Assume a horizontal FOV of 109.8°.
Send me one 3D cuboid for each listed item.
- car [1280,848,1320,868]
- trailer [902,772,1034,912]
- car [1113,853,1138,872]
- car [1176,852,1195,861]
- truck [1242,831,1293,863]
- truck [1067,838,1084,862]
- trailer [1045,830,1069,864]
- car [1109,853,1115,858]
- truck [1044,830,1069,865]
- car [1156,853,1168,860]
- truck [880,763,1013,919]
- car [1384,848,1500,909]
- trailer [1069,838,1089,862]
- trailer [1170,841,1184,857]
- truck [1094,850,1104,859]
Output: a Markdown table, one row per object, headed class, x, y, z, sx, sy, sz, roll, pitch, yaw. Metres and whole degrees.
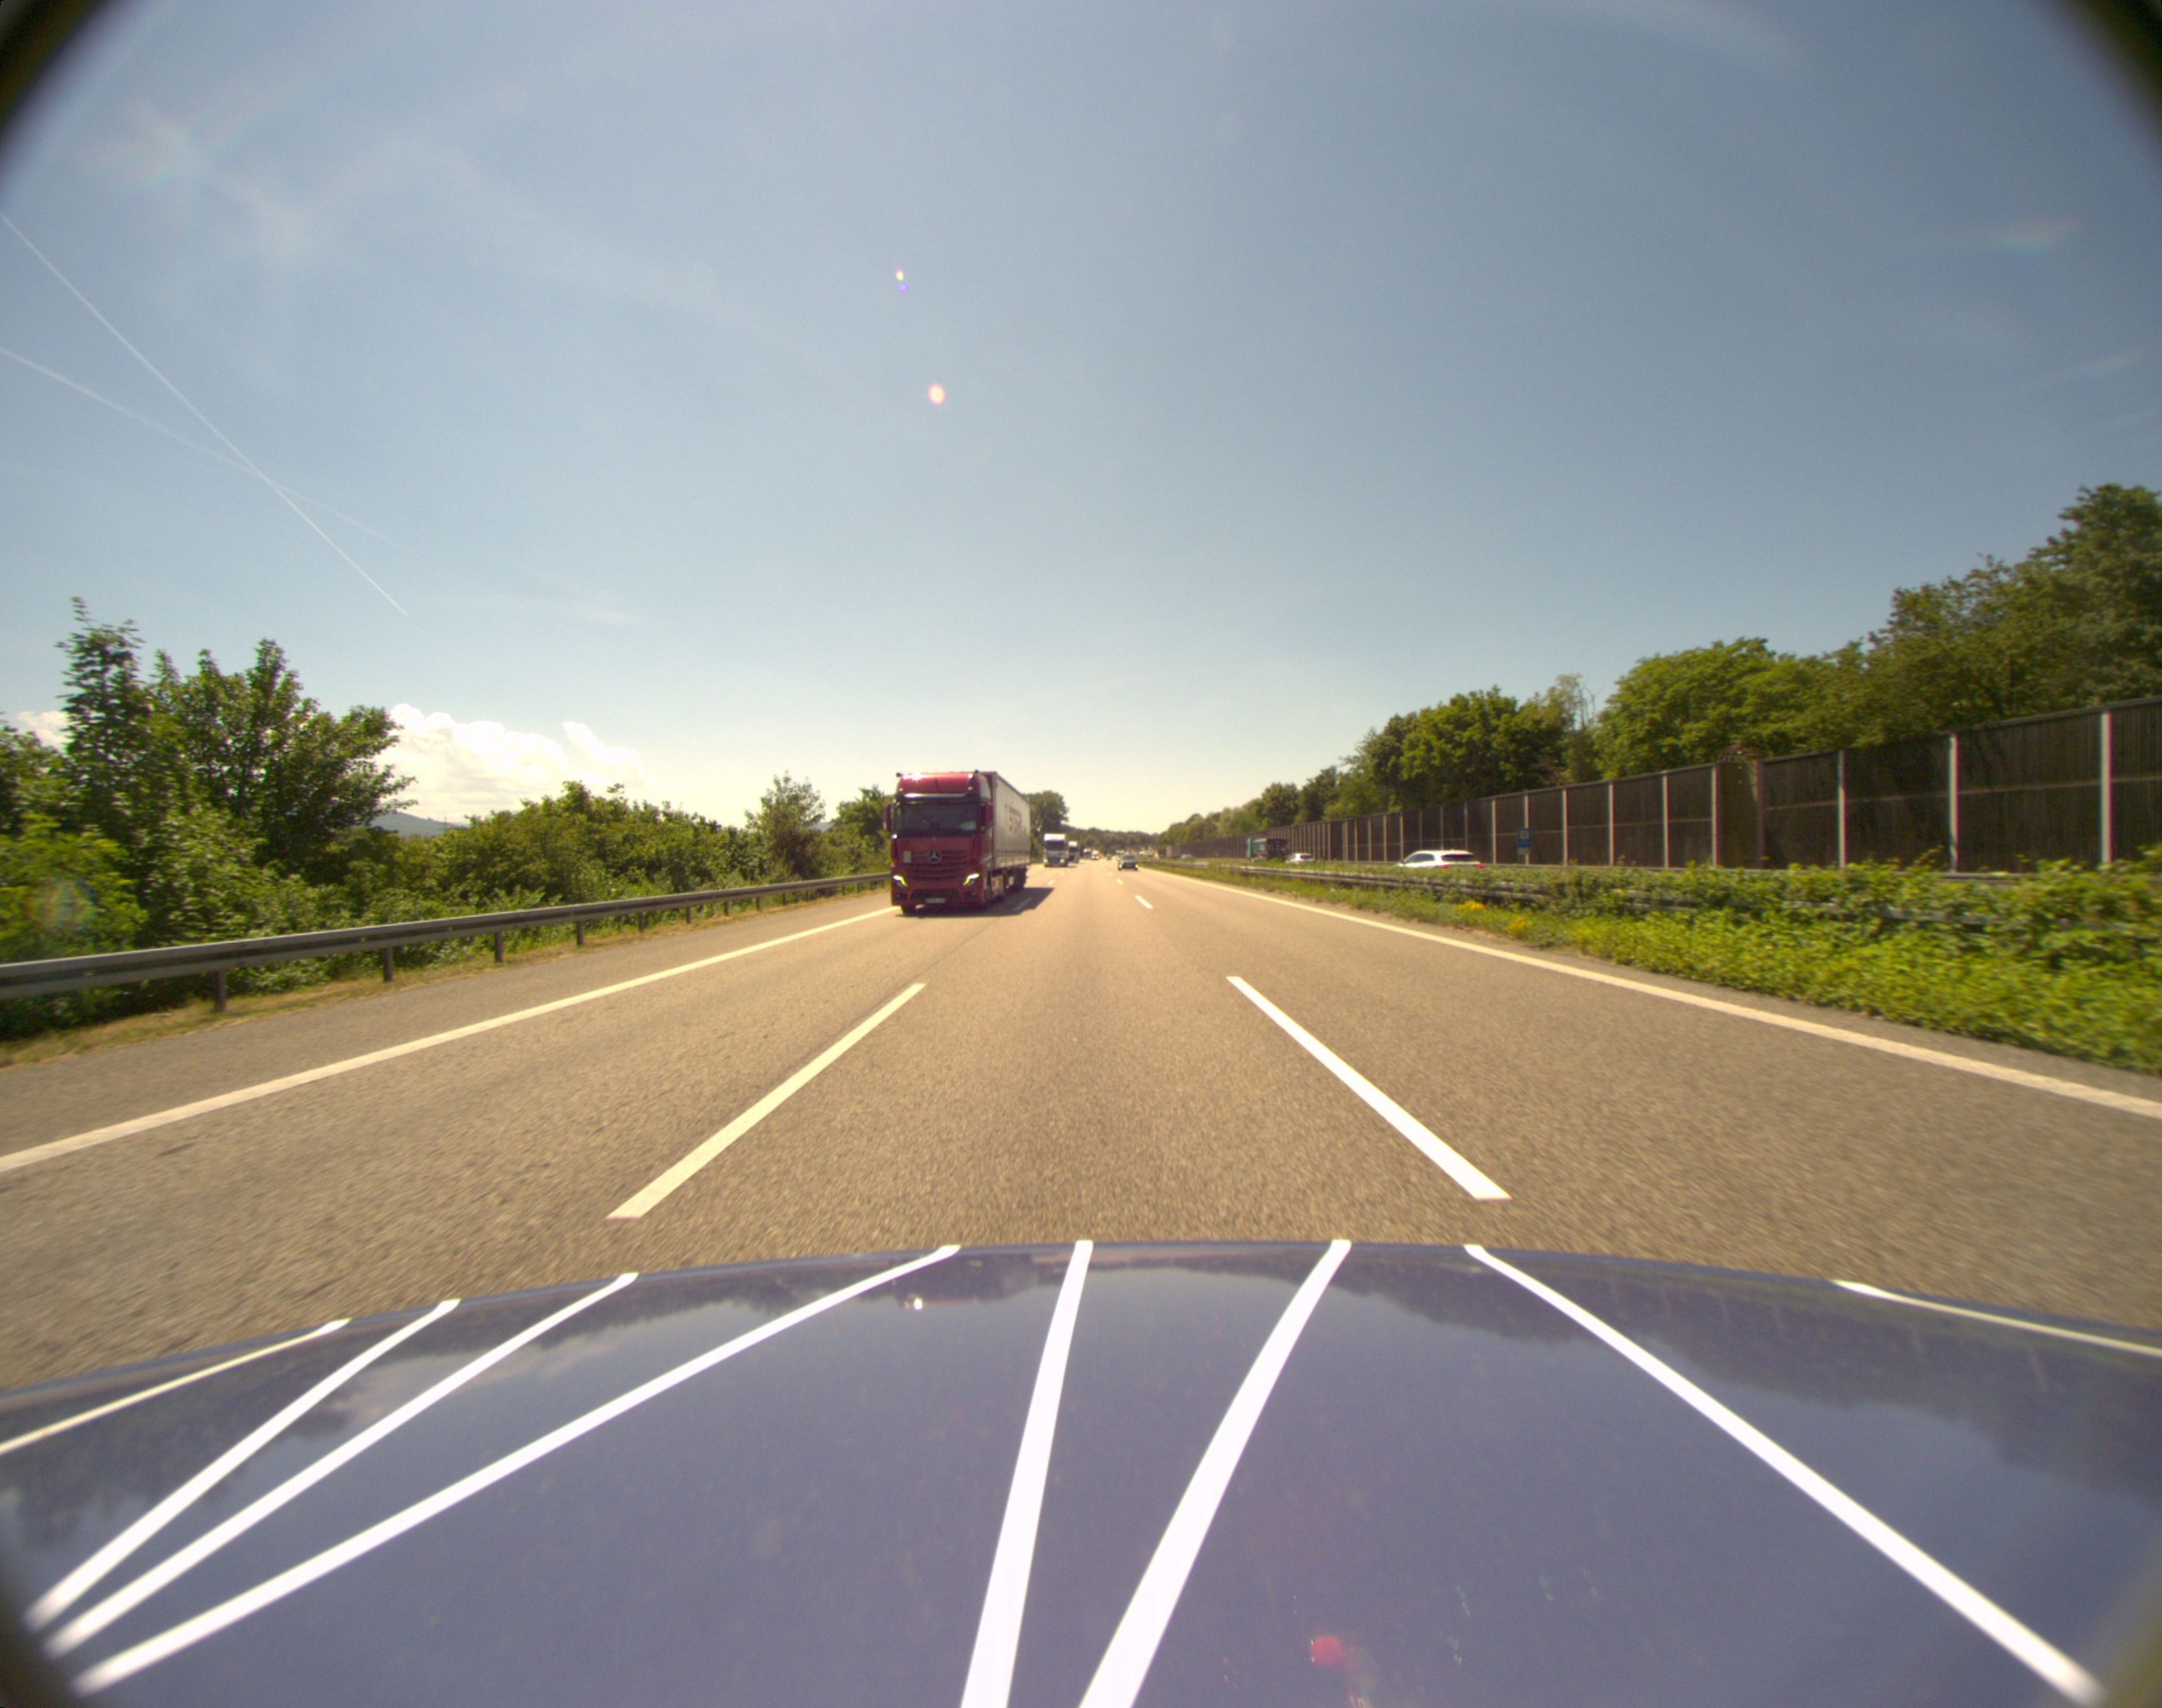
| class | x | y | z | sx | sy | sz | roll | pitch | yaw |
| --- | --- | --- | --- | --- | --- | --- | --- | --- | --- |
| car | 18.001 | 0.308 | 62.592 | 1.998 | 1.581 | 4.492 | -1 | 0 | 1 |
| trailer | -3.742 | -0.377 | 29.334 | 2.714 | 4.064 | 14.151 | -1 | 0 | 1 |
| car | 4.157 | 0.796 | 71.836 | 1.909 | 1.717 | 4.374 | 0 | 0 | -2 |
| car | 16.195 | 0.402 | 118.138 | 1.870 | 1.433 | 5.083 | 0 | 0 | -4 |
| truck | 22.587 | -0.829 | 92.868 | 3.098 | 3.654 | 12.367 | 0 | 0 | 0 |
| truck | -1.005 | -0.732 | 142.467 | 2.541 | 4.446 | 5.574 | 0 | 0 | 5 |
| trailer | -3.039 | -0.817 | 97.451 | 2.967 | 4.082 | 12.530 | 0 | 0 | -2 |
| car | 10.280 | 0.587 | 253.880 | 1.909 | 1.717 | 4.376 | 0 | 0 | 3 |
| truck | -2.941 | -0.813 | 92.037 | 2.967 | 4.082 | 6.205 | 0 | 0 | -2 |
| car | 15.533 | 0.482 | 146.047 | 1.962 | 1.438 | 4.458 | 0 | 0 | 1 |
| truck | -3.842 | -0.357 | 23.396 | 2.714 | 4.064 | 6.964 | -1 | 0 | 1 |
| car | 13.279 | 0.824 | 28.333 | 1.998 | 2.002 | 4.895 | -3 | 0 | 1 |
| trailer | -0.340 | -0.762 | 149.748 | 2.541 | 4.446 | 14.165 | 0 | 0 | 5 |
| trailer | 25.646 | -1.406 | 203.253 | 2.501 | 4.063 | 14.273 | 0 | 0 | 3 |
| truck | 5.664 | 0.046 | 237.530 | 2.715 | 2.712 | 12.369 | 0 | 0 | 2 |
